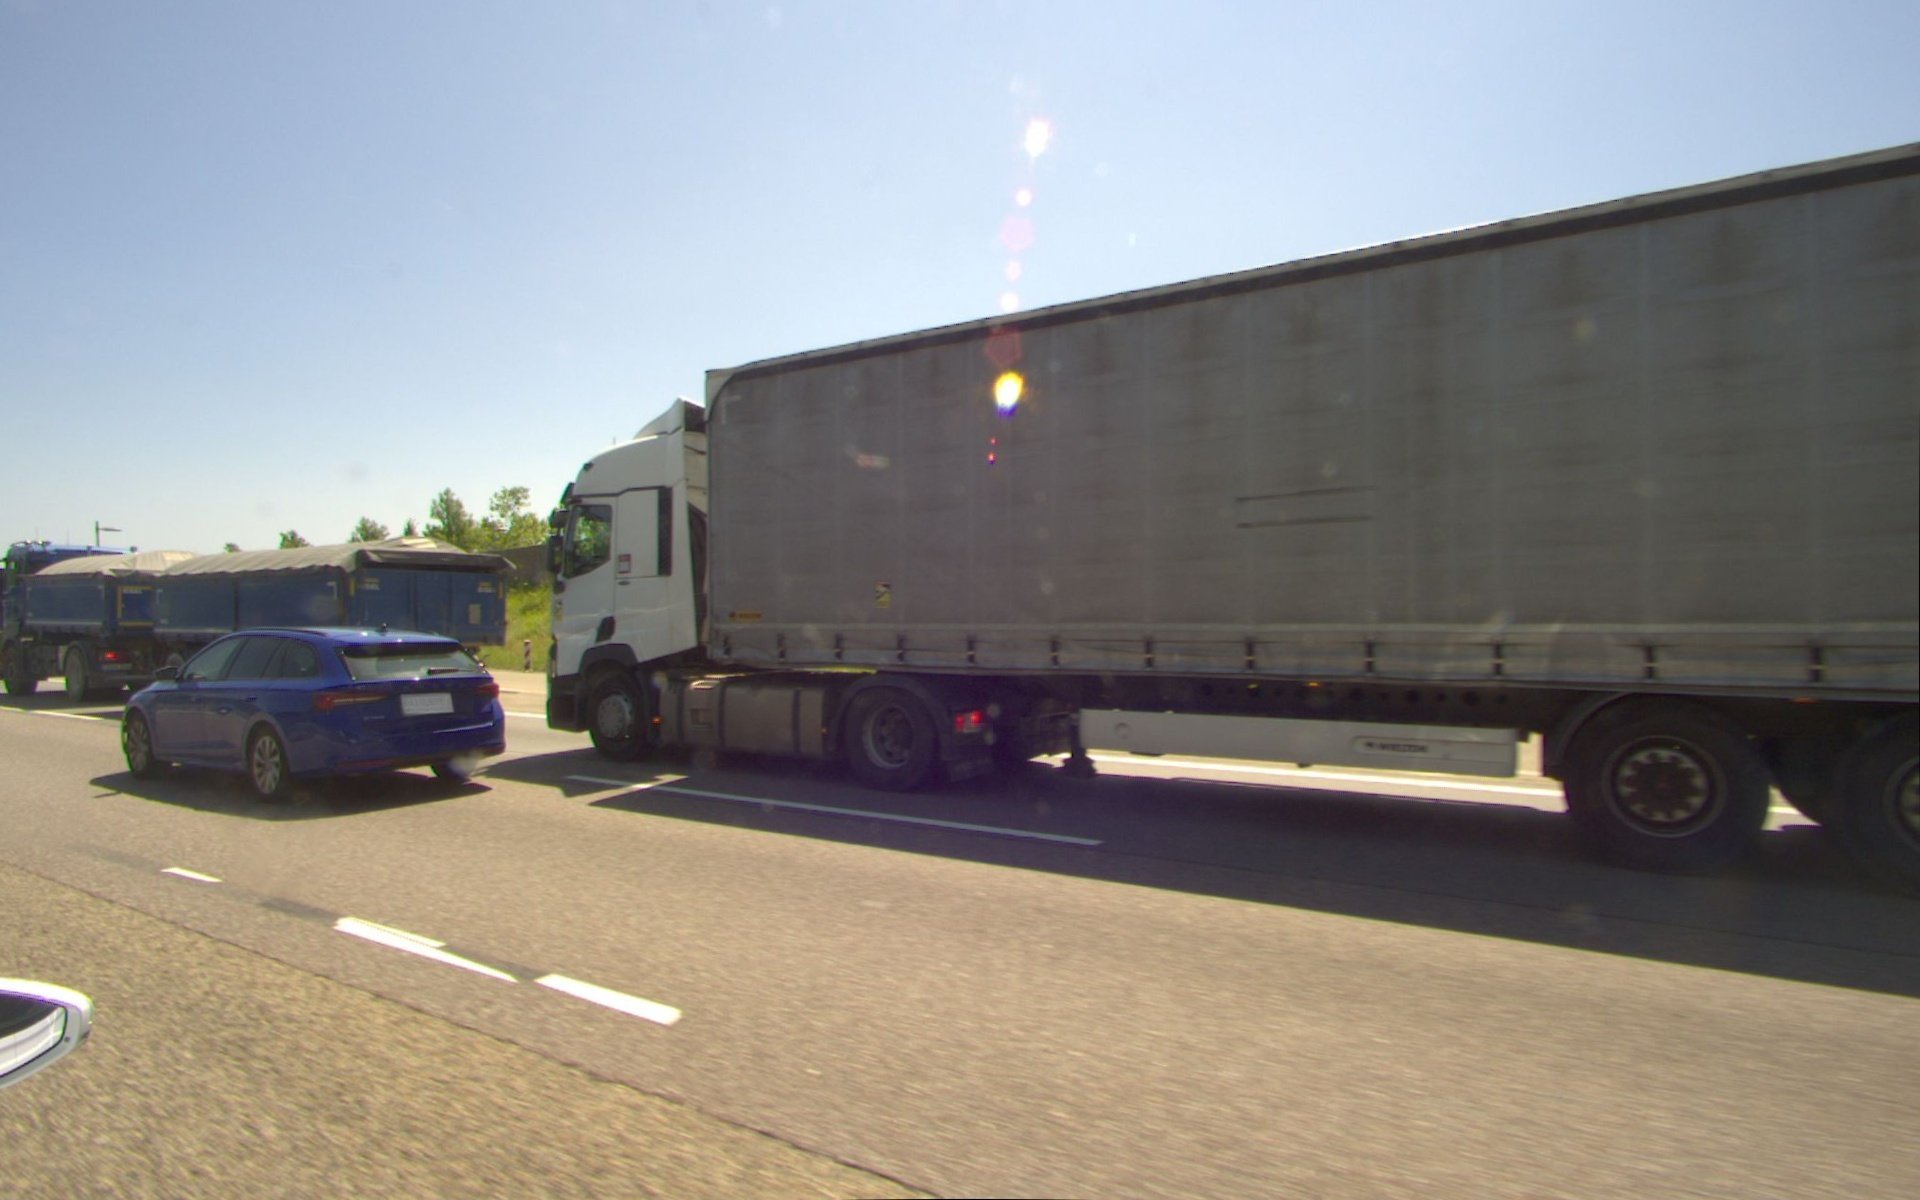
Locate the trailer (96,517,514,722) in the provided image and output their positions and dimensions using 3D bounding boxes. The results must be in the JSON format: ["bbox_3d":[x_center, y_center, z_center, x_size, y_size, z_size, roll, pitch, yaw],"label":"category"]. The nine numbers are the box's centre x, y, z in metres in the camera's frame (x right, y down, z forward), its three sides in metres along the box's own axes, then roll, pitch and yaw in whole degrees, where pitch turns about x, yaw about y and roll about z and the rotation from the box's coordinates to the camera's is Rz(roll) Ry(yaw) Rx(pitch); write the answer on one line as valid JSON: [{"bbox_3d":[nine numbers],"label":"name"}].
[{"bbox_3d":[-11.792,0.400,17.634,8.986,2.873,2.739,-1,-2,33],"label":"trailer"}]

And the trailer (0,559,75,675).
[{"bbox_3d":[-32.448,0.654,31.212,15.559,3.117,3.638,-2,-2,35],"label":"trailer"}]

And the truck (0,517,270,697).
[{"bbox_3d":[-18.135,0.253,21.701,7.032,3.354,2.739,-1,-2,33],"label":"truck"}]

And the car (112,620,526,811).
[{"bbox_3d":[-6.234,0.965,9.594,4.366,1.459,1.703,-2,-2,33],"label":"car"}]

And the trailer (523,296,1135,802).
[{"bbox_3d":[-1.582,-0.351,11.055,6.319,4.096,2.919,0,-1,33],"label":"trailer"}]

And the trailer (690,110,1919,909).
[{"bbox_3d":[3.803,-0.409,7.603,13.556,4.101,2.957,-1,-1,33],"label":"trailer"}]
